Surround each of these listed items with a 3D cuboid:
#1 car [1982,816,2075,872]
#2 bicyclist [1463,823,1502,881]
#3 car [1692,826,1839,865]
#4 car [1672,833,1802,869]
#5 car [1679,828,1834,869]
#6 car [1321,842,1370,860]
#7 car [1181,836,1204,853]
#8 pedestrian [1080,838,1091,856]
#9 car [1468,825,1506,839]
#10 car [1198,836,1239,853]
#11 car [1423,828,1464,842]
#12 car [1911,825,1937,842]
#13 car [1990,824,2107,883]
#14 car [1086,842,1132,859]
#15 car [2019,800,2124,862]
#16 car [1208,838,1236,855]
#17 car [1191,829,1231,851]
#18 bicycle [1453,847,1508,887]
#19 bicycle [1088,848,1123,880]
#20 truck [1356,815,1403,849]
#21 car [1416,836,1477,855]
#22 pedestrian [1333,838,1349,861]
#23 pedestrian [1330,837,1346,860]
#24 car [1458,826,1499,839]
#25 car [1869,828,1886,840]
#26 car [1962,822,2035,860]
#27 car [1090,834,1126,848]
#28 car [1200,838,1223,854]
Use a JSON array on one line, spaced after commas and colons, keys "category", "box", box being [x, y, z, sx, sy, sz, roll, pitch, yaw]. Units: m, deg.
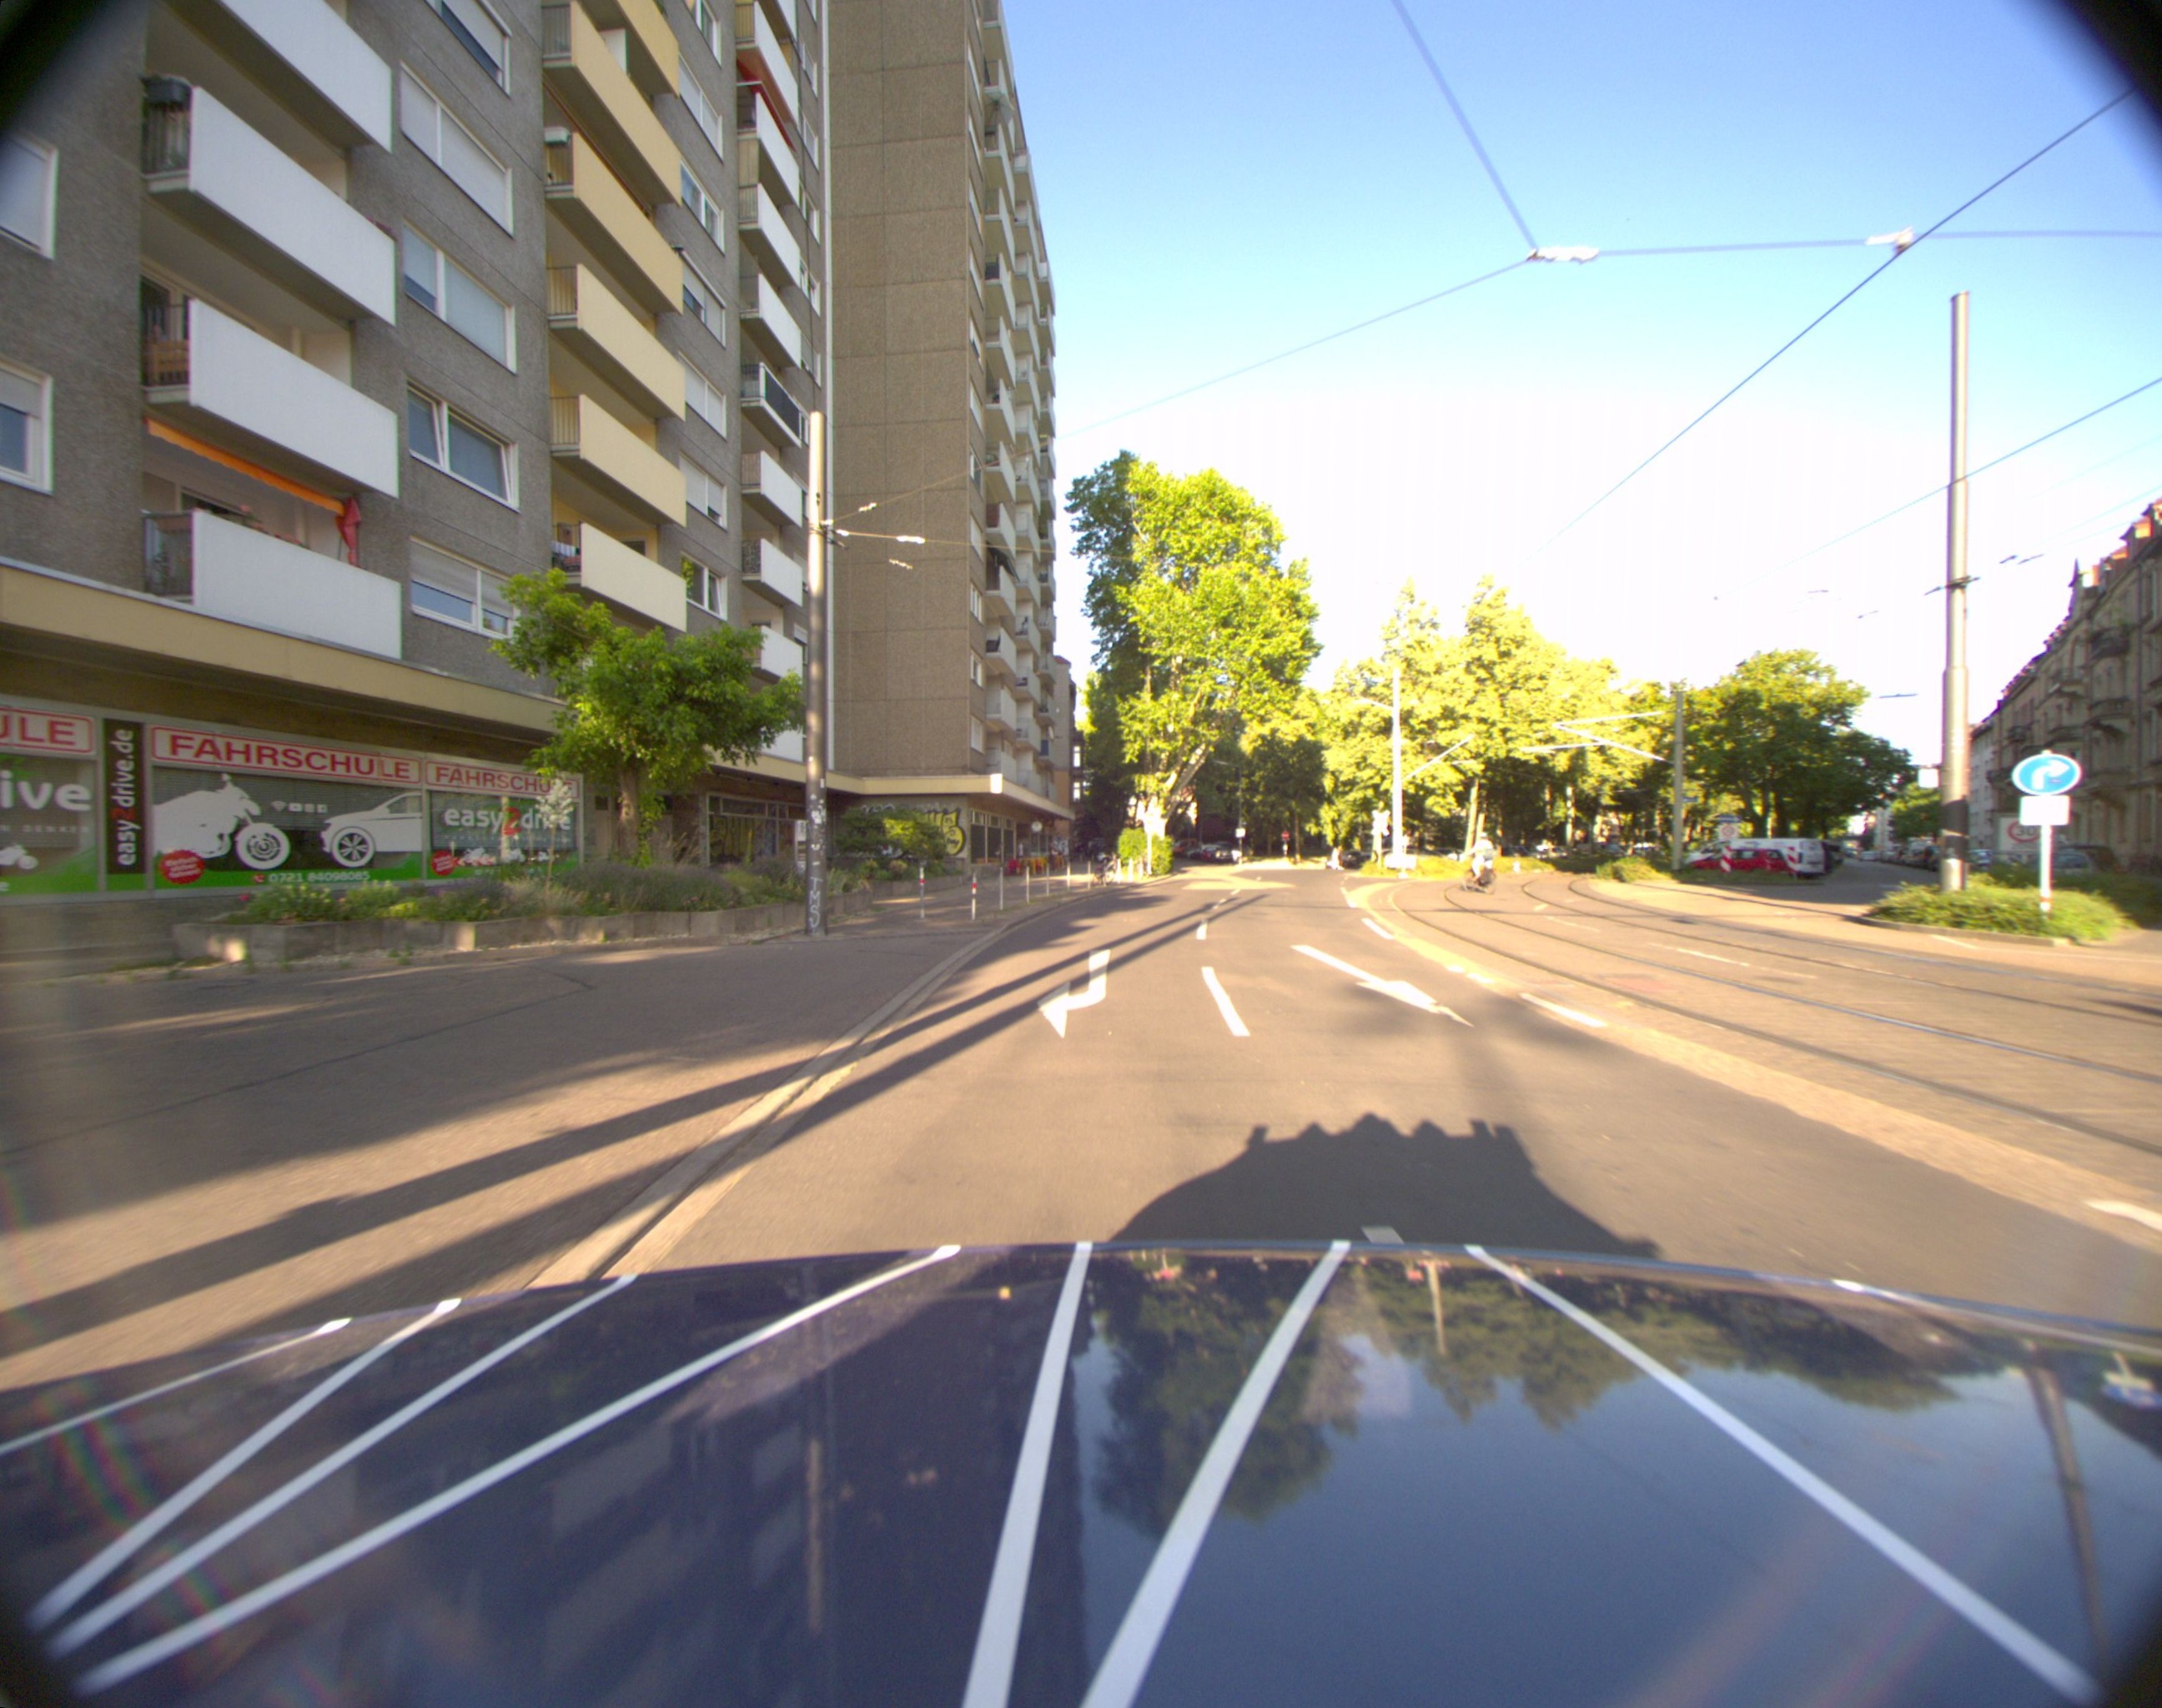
[{"category": "car", "box": [36.834, -0.426, 29.658, 4.645, 2.002, 1.994, -2, 2, -42]}, {"category": "bicyclist", "box": [12.474, -0.075, 23.622, 0.607, 1.753, 1.060, 0, 2, -2]}, {"category": "car", "box": [33.859, -0.473, 37.799, 2.002, 1.799, 5.048, -1, 2, -24]}, {"category": "car", "box": [29.519, -0.184, 34.339, 1.871, 1.499, 3.991, -1, 2, -24]}, {"category": "car", "box": [31.525, -0.321, 35.689, 2.002, 1.778, 5.048, -1, 2, -24]}, {"category": "car", "box": [21.593, -0.236, 62.028, 4.007, 1.390, 1.945, -2, 2, -38]}, {"category": "car", "box": [12.911, -1.115, 87.968, 1.771, 1.846, 4.226, -1, 1, -4]}, {"category": "pedestrian", "box": [0.494, -0.821, 85.150, 1.213, 2.002, 1.206, 0, 2, -3]}, {"category": "car", "box": [53.153, -2.901, 99.470, 1.888, 1.740, 3.990, -1, 2, -26]}, {"category": "car", "box": [14.280, -1.023, 78.937, 3.925, 1.751, 1.534, -1, 2, -5]}, {"category": "car", "box": [43.548, -2.282, 91.363, 2.002, 1.740, 4.435, -1, 2, -19]}, {"category": "car", "box": [87.664, -2.143, 79.029, 4.008, 1.745, 1.798, -2, 2, -42]}, {"category": "car", "box": [24.981, -0.055, 19.612, 3.440, 1.406, 1.733, -1, 2, -37]}, {"category": "car", "box": [2.560, -0.326, 69.508, 3.998, 1.499, 1.885, 0, 1, -4]}, {"category": "car", "box": [28.991, -0.663, 22.253, 4.007, 1.652, 1.733, -1, 2, -37]}, {"category": "car", "box": [12.688, -0.685, 68.622, 1.740, 1.440, 3.630, 0, 1, -1]}, {"category": "car", "box": [13.877, -1.497, 81.223, 3.925, 2.392, 1.534, -1, 2, -5]}, {"category": "bicycle", "box": [12.478, 0.369, 23.806, 0.611, 1.168, 1.951, 0, 2, -2]}, {"category": "bicycle", "box": [0.942, 0.344, 28.230, 0.609, 1.128, 2.283, 0, 2, 20]}, {"category": "truck", "box": [25.795, -1.895, 65.632, 1.994, 2.767, 4.894, 1, 2, 45]}, {"category": "car", "box": [26.720, -0.627, 55.603, 1.744, 1.346, 3.679, -1, 2, -29]}, {"category": "pedestrian", "box": [20.031, -0.380, 58.541, 0.889, 1.758, 0.829, -1, 2, -12]}, {"category": "pedestrian", "box": [20.097, -0.416, 59.424, 0.889, 1.758, 0.829, -1, 2, -12]}, {"category": "car", "box": [51.083, -2.734, 97.727, 2.002, 1.696, 4.347, -1, 2, -25]}, {"category": "car", "box": [132.394, -3.288, 126.285, 4.007, 1.773, 1.994, -5, 3, -44]}, {"category": "car", "box": [43.297, -0.621, 35.932, 4.272, 1.695, 1.994, -2, 2, -42]}, {"category": "car", "box": [3.119, -1.508, 87.148, 3.998, 1.499, 1.885, 0, 1, -3]}, {"category": "car", "box": [12.698, -0.782, 74.131, 1.534, 1.440, 3.925, 0, 1, -1]}]
